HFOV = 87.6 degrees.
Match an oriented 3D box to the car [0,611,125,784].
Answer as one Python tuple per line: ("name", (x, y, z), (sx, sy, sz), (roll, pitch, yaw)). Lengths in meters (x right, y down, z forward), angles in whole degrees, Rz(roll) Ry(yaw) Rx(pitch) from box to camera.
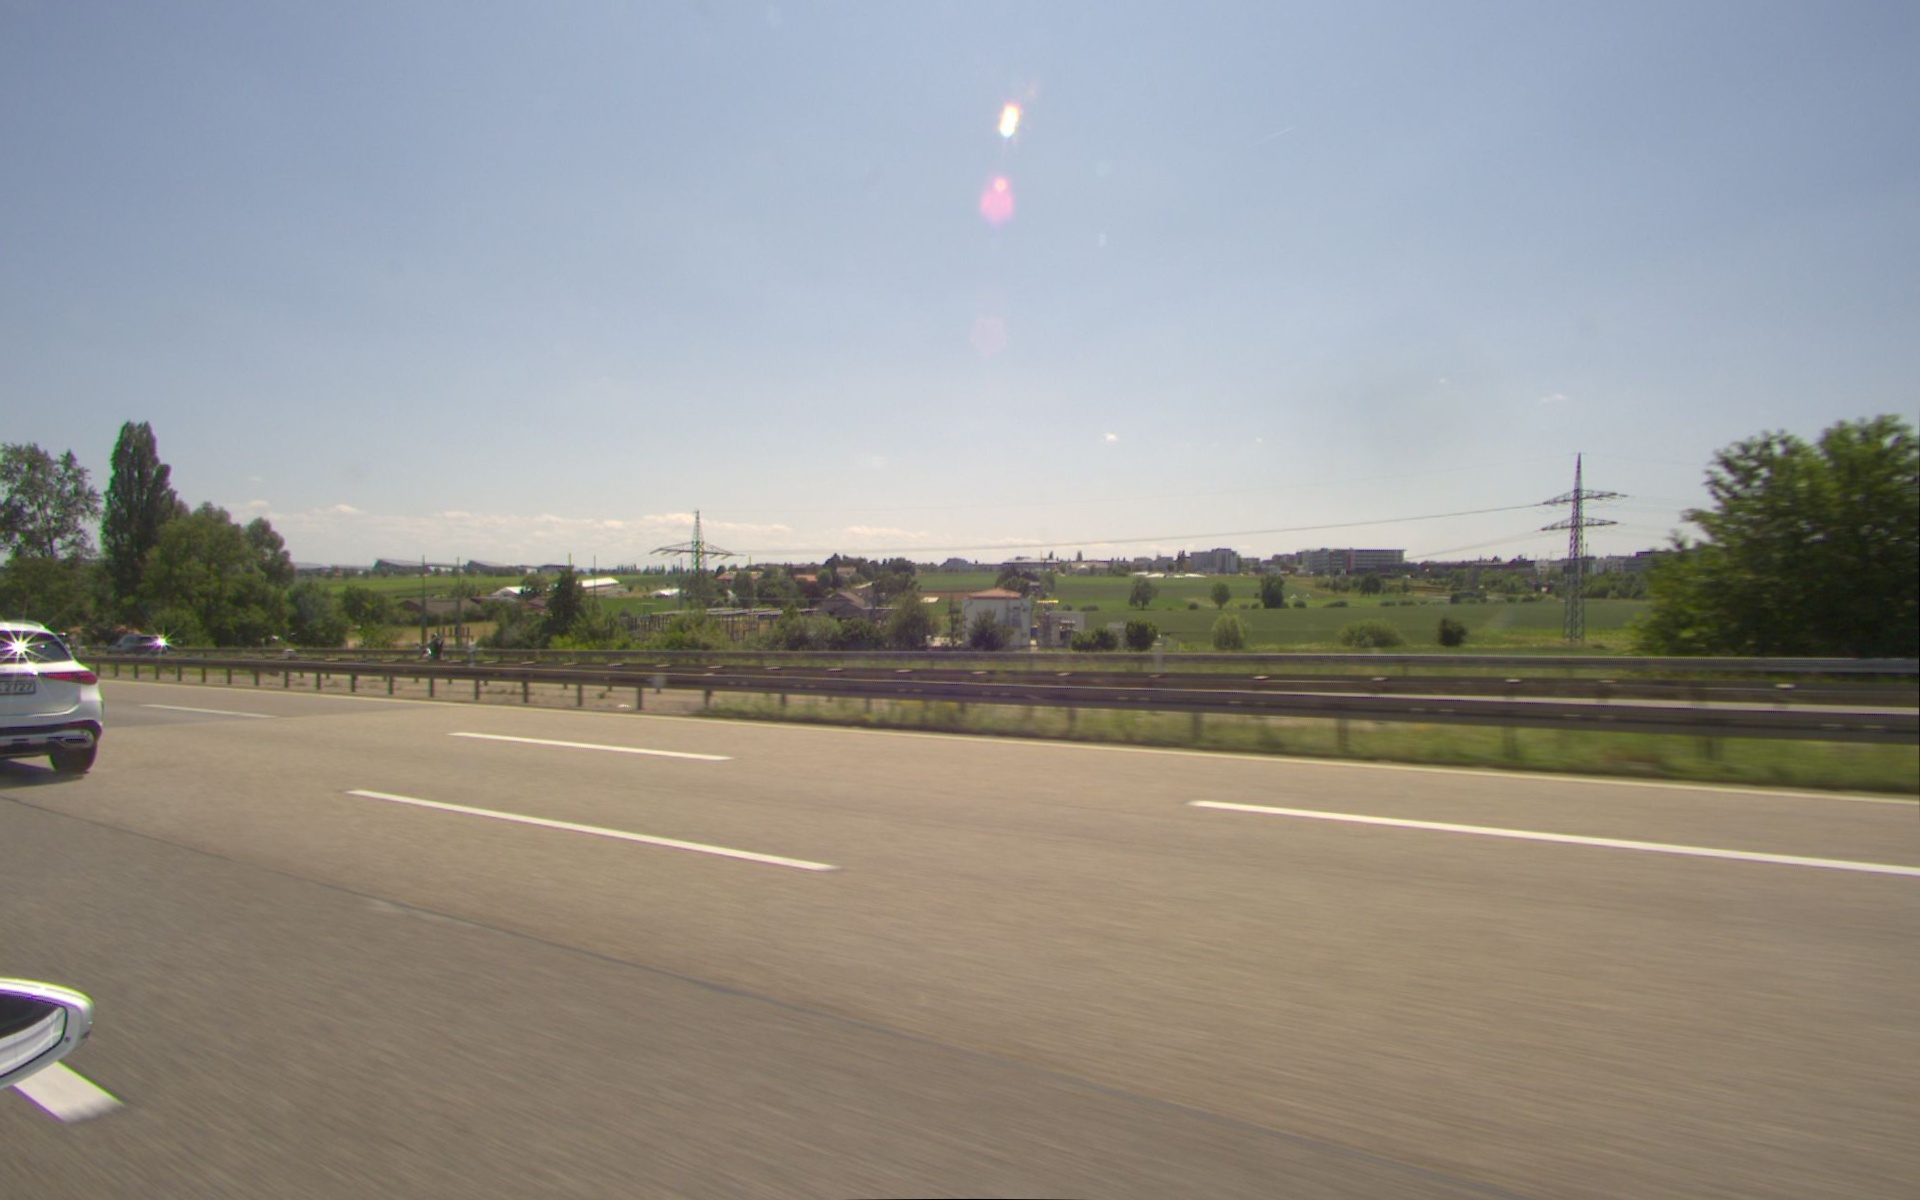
("car", (-11.332, 0.988, 10.985), (4.927, 1.668, 1.895), (-1, -2, 32))

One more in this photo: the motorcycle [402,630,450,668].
("motorcycle", (-19.958, 1.818, 37.414), (1.842, 1.384, 0.759), (-1, -2, 31))

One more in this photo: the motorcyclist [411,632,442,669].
("motorcyclist", (-19.912, 1.883, 37.378), (0.866, 1.384, 0.667), (-1, -2, 32))

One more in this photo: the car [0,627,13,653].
("car", (-73.257, 2.985, 75.374), (4.119, 1.948, 1.936), (-1, -2, 32))

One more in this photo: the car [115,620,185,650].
("car", (-43.704, 1.892, 53.998), (4.069, 1.595, 1.697), (-1, -2, 32))
